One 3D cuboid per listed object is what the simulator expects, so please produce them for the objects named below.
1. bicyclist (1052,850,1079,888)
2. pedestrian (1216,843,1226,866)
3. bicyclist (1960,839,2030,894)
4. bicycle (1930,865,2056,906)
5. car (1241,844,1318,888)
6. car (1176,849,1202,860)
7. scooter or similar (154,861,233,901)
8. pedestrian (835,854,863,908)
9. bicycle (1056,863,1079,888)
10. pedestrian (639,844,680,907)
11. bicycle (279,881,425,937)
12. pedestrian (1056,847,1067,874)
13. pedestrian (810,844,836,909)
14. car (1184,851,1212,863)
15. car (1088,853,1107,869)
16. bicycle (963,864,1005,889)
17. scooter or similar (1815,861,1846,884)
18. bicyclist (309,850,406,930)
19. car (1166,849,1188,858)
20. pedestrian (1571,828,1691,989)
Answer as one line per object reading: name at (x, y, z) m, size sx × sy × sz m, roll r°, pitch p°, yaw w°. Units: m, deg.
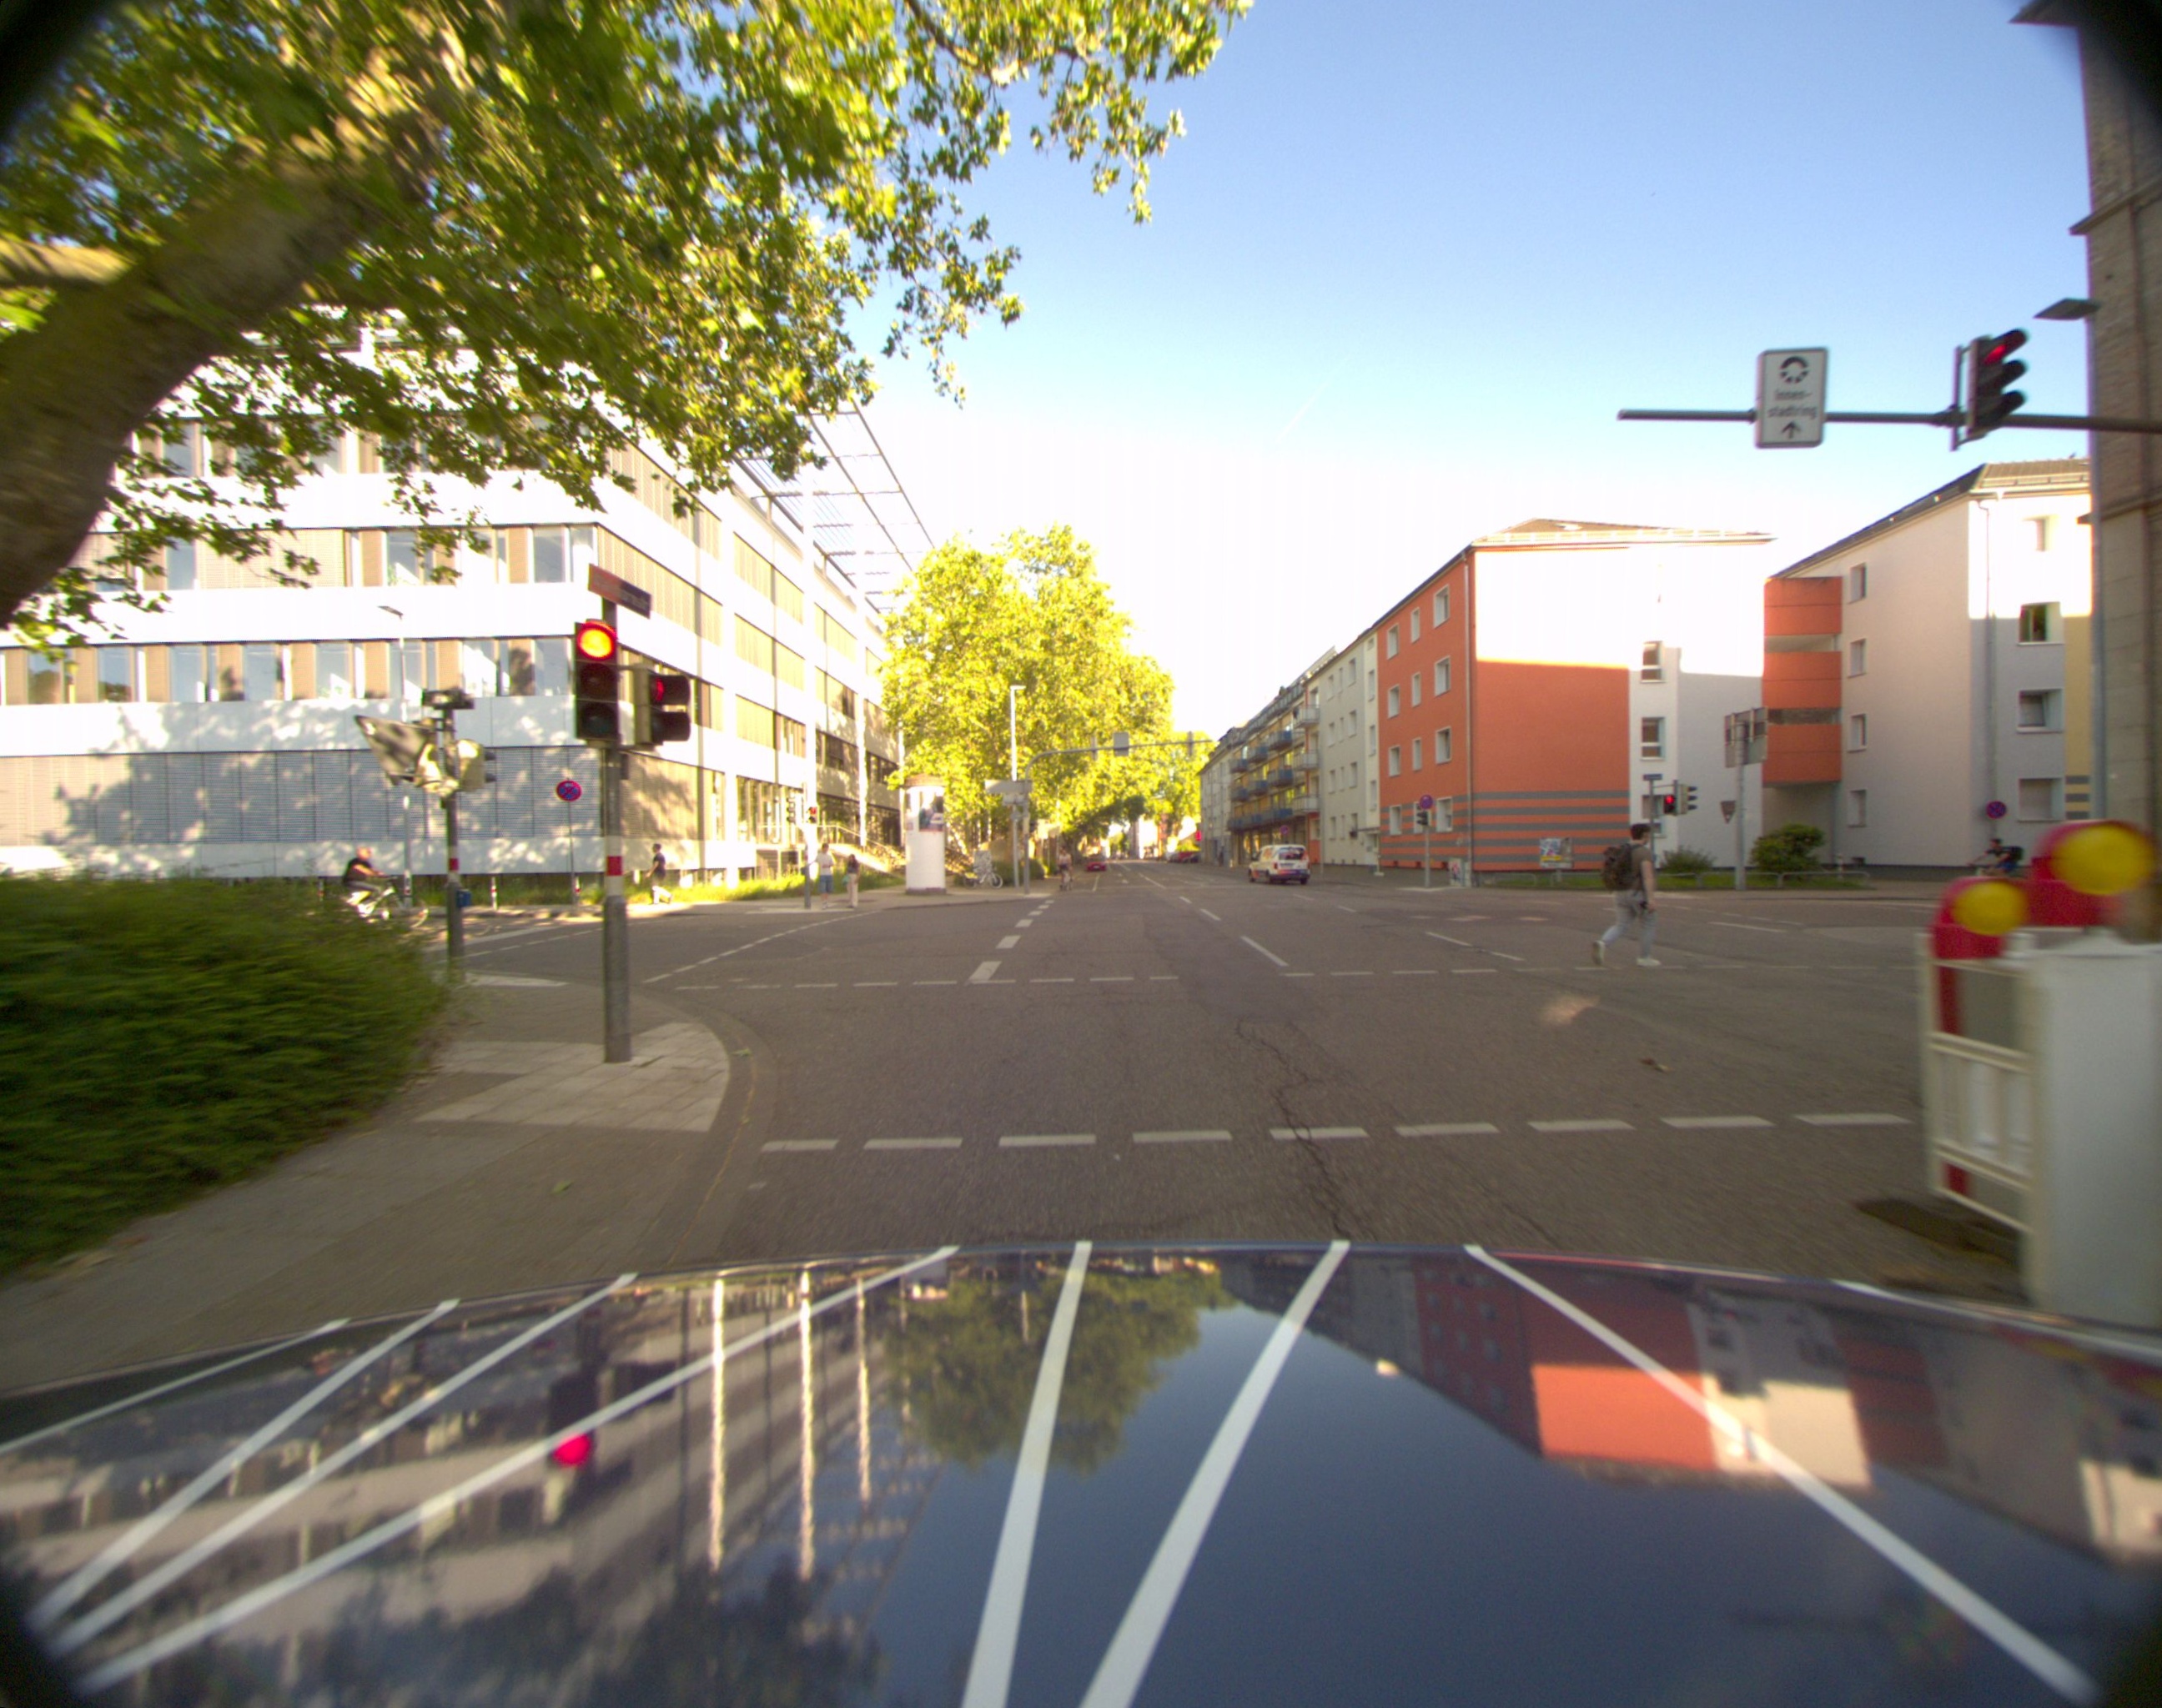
bicyclist at (-0.678, 0.640, 33.608) m, size 0.949 × 1.630 × 1.008 m, roll -1°, pitch 1°, yaw 9°
pedestrian at (15.065, 0.051, 81.801) m, size 0.914 × 2.382 × 1.088 m, roll 0°, pitch 1°, yaw 1°
bicyclist at (23.606, 0.325, 19.645) m, size 0.837 × 1.364 × 0.793 m, roll 2°, pitch -1°, yaw 15°
bicycle at (23.531, 0.809, 19.649) m, size 1.988 × 0.993 × 0.791 m, roll 1°, pitch -1°, yaw 15°
car at (9.218, 0.581, 35.776) m, size 1.999 × 1.806 × 5.125 m, roll -3°, pitch -1°, yaw -3°
car at (17.177, 0.053, 121.263) m, size 3.996 × 1.689 × 1.834 m, roll 0°, pitch 0°, yaw 3°
scooter or similar at (-27.274, 0.821, 23.372) m, size 1.557 × 1.173 × 0.699 m, roll 0°, pitch 1°, yaw -2°
pedestrian at (-6.607, 0.752, 21.670) m, size 0.673 × 1.515 × 0.560 m, roll -1°, pitch 1°, yaw -10°
bicycle at (-0.594, 0.944, 33.782) m, size 0.703 × 1.060 × 1.930 m, roll -1°, pitch -1°, yaw 9°
pedestrian at (-12.173, 0.616, 21.922) m, size 0.997 × 1.761 × 0.604 m, roll -1°, pitch 0°, yaw -30°
bicycle at (-14.570, 1.081, 15.242) m, size 2.024 × 1.011 × 0.718 m, roll -1°, pitch 2°, yaw -11°
pedestrian at (-1.319, 0.450, 51.228) m, size 0.671 × 1.786 × 0.665 m, roll -3°, pitch 2°, yaw -4°
pedestrian at (-7.334, 0.627, 21.608) m, size 0.604 × 1.828 × 0.569 m, roll -1°, pitch 1°, yaw -14°
car at (17.787, 0.431, 115.828) m, size 3.996 × 1.689 × 1.834 m, roll 0°, pitch 0°, yaw 3°
car at (1.624, 0.657, 75.154) m, size 1.786 × 1.520 × 4.657 m, roll -1°, pitch 0°, yaw 0°
bicycle at (-4.043, 0.956, 31.669) m, size 1.638 × 0.993 × 0.621 m, roll 1°, pitch 2°, yaw -24°
scooter or similar at (26.958, 0.655, 27.327) m, size 0.301 × 0.783 × 0.744 m, roll -2°, pitch 0°, yaw -14°
bicyclist at (-14.480, 0.700, 15.249) m, size 1.088 × 1.526 × 0.877 m, roll -1°, pitch 0°, yaw -11°
car at (18.497, -0.047, 146.374) m, size 3.996 × 1.689 × 1.834 m, roll 0°, pitch 0°, yaw 3°
pedestrian at (6.281, 0.597, 8.718) m, size 0.883 × 1.761 × 0.748 m, roll -1°, pitch 0°, yaw 12°
